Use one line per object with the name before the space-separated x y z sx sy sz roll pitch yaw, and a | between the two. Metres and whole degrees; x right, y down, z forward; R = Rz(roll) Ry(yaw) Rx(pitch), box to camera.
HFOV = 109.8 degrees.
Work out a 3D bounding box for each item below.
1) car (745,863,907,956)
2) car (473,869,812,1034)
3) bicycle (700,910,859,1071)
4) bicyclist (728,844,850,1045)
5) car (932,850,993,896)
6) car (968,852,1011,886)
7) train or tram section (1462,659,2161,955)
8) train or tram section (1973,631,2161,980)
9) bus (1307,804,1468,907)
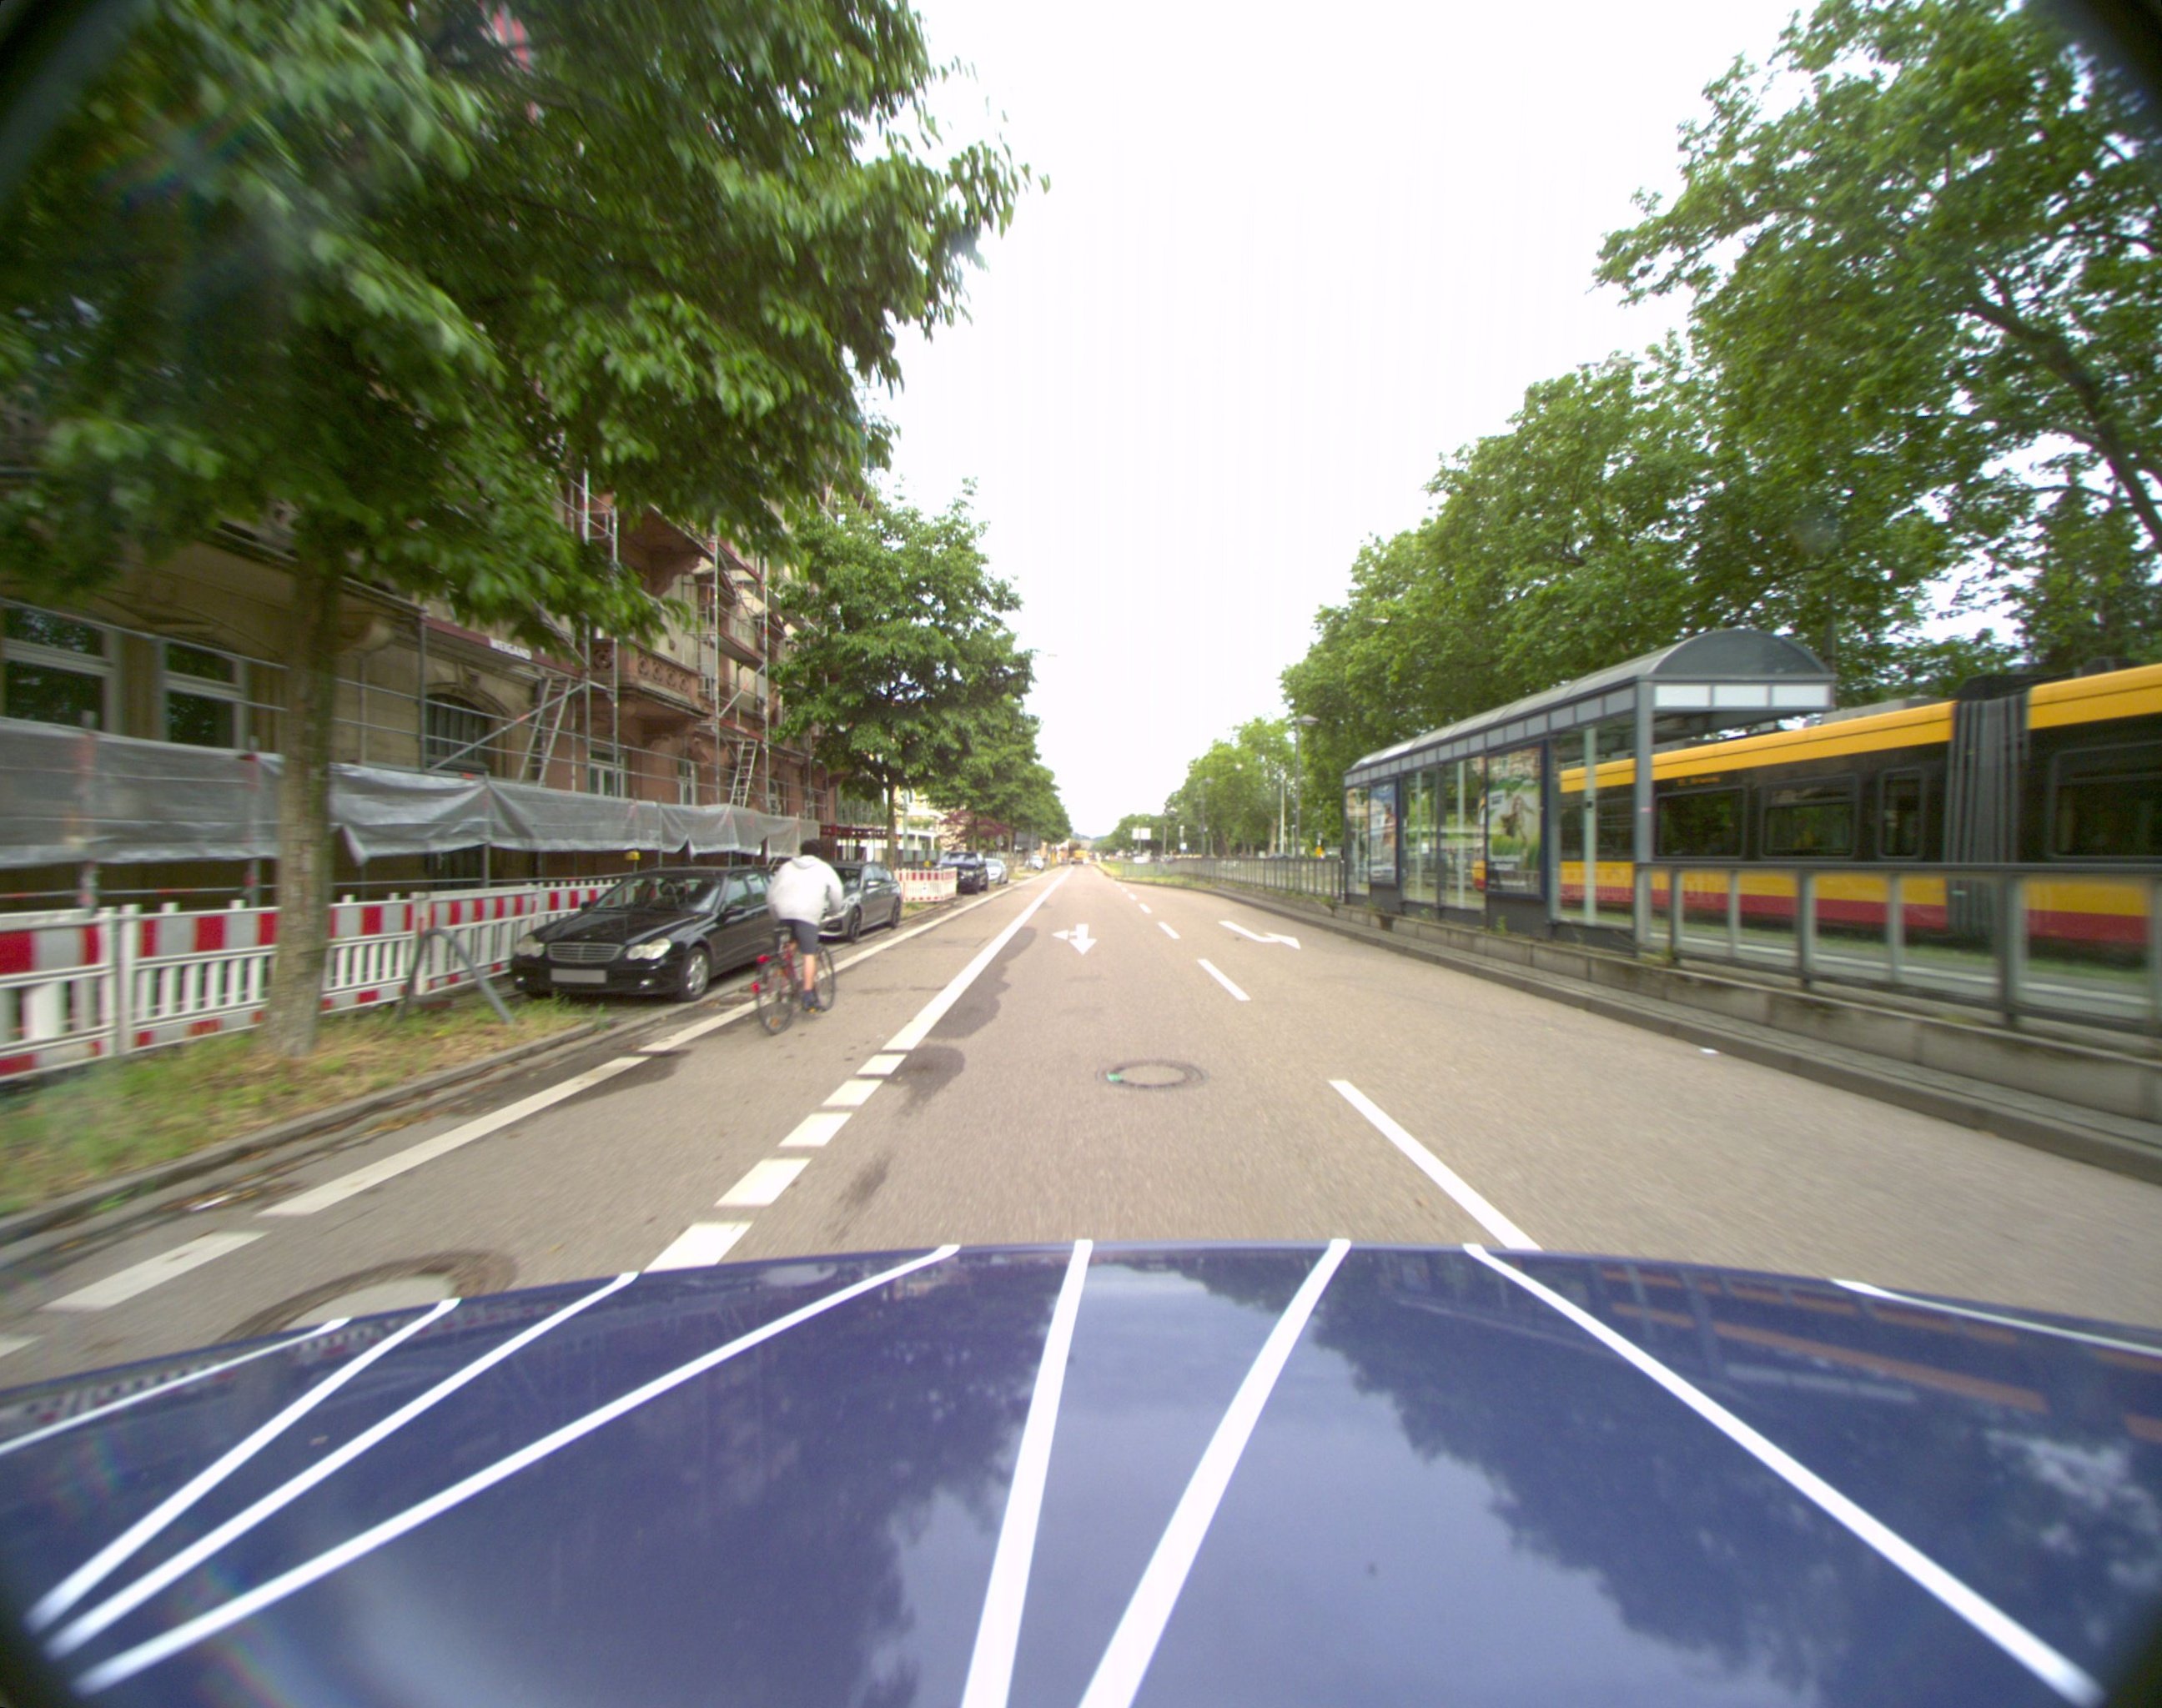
car | -4.821 0.973 15.036 1.755 1.452 4.279 1 1 0
car | -5.000 0.988 9.495 1.755 1.452 4.279 1 1 0
bicycle | -2.747 1.186 7.196 0.613 1.116 2.050 -2 1 1
bicyclist | -2.740 0.805 7.220 0.751 1.777 0.838 -2 1 1
car | -4.824 0.736 31.512 1.837 1.720 4.279 1 1 0
car | -4.850 0.761 40.804 1.837 1.686 3.762 1 1 0
train or tram section | 12.489 -0.650 15.595 3.100 3.541 12.537 -2 1 1
train or tram section | 12.365 -0.463 1.377 3.067 3.511 15.769 -2 1 0
bus | 6.747 0.012 17.238 1.998 2.002 3.999 -2 1 0
